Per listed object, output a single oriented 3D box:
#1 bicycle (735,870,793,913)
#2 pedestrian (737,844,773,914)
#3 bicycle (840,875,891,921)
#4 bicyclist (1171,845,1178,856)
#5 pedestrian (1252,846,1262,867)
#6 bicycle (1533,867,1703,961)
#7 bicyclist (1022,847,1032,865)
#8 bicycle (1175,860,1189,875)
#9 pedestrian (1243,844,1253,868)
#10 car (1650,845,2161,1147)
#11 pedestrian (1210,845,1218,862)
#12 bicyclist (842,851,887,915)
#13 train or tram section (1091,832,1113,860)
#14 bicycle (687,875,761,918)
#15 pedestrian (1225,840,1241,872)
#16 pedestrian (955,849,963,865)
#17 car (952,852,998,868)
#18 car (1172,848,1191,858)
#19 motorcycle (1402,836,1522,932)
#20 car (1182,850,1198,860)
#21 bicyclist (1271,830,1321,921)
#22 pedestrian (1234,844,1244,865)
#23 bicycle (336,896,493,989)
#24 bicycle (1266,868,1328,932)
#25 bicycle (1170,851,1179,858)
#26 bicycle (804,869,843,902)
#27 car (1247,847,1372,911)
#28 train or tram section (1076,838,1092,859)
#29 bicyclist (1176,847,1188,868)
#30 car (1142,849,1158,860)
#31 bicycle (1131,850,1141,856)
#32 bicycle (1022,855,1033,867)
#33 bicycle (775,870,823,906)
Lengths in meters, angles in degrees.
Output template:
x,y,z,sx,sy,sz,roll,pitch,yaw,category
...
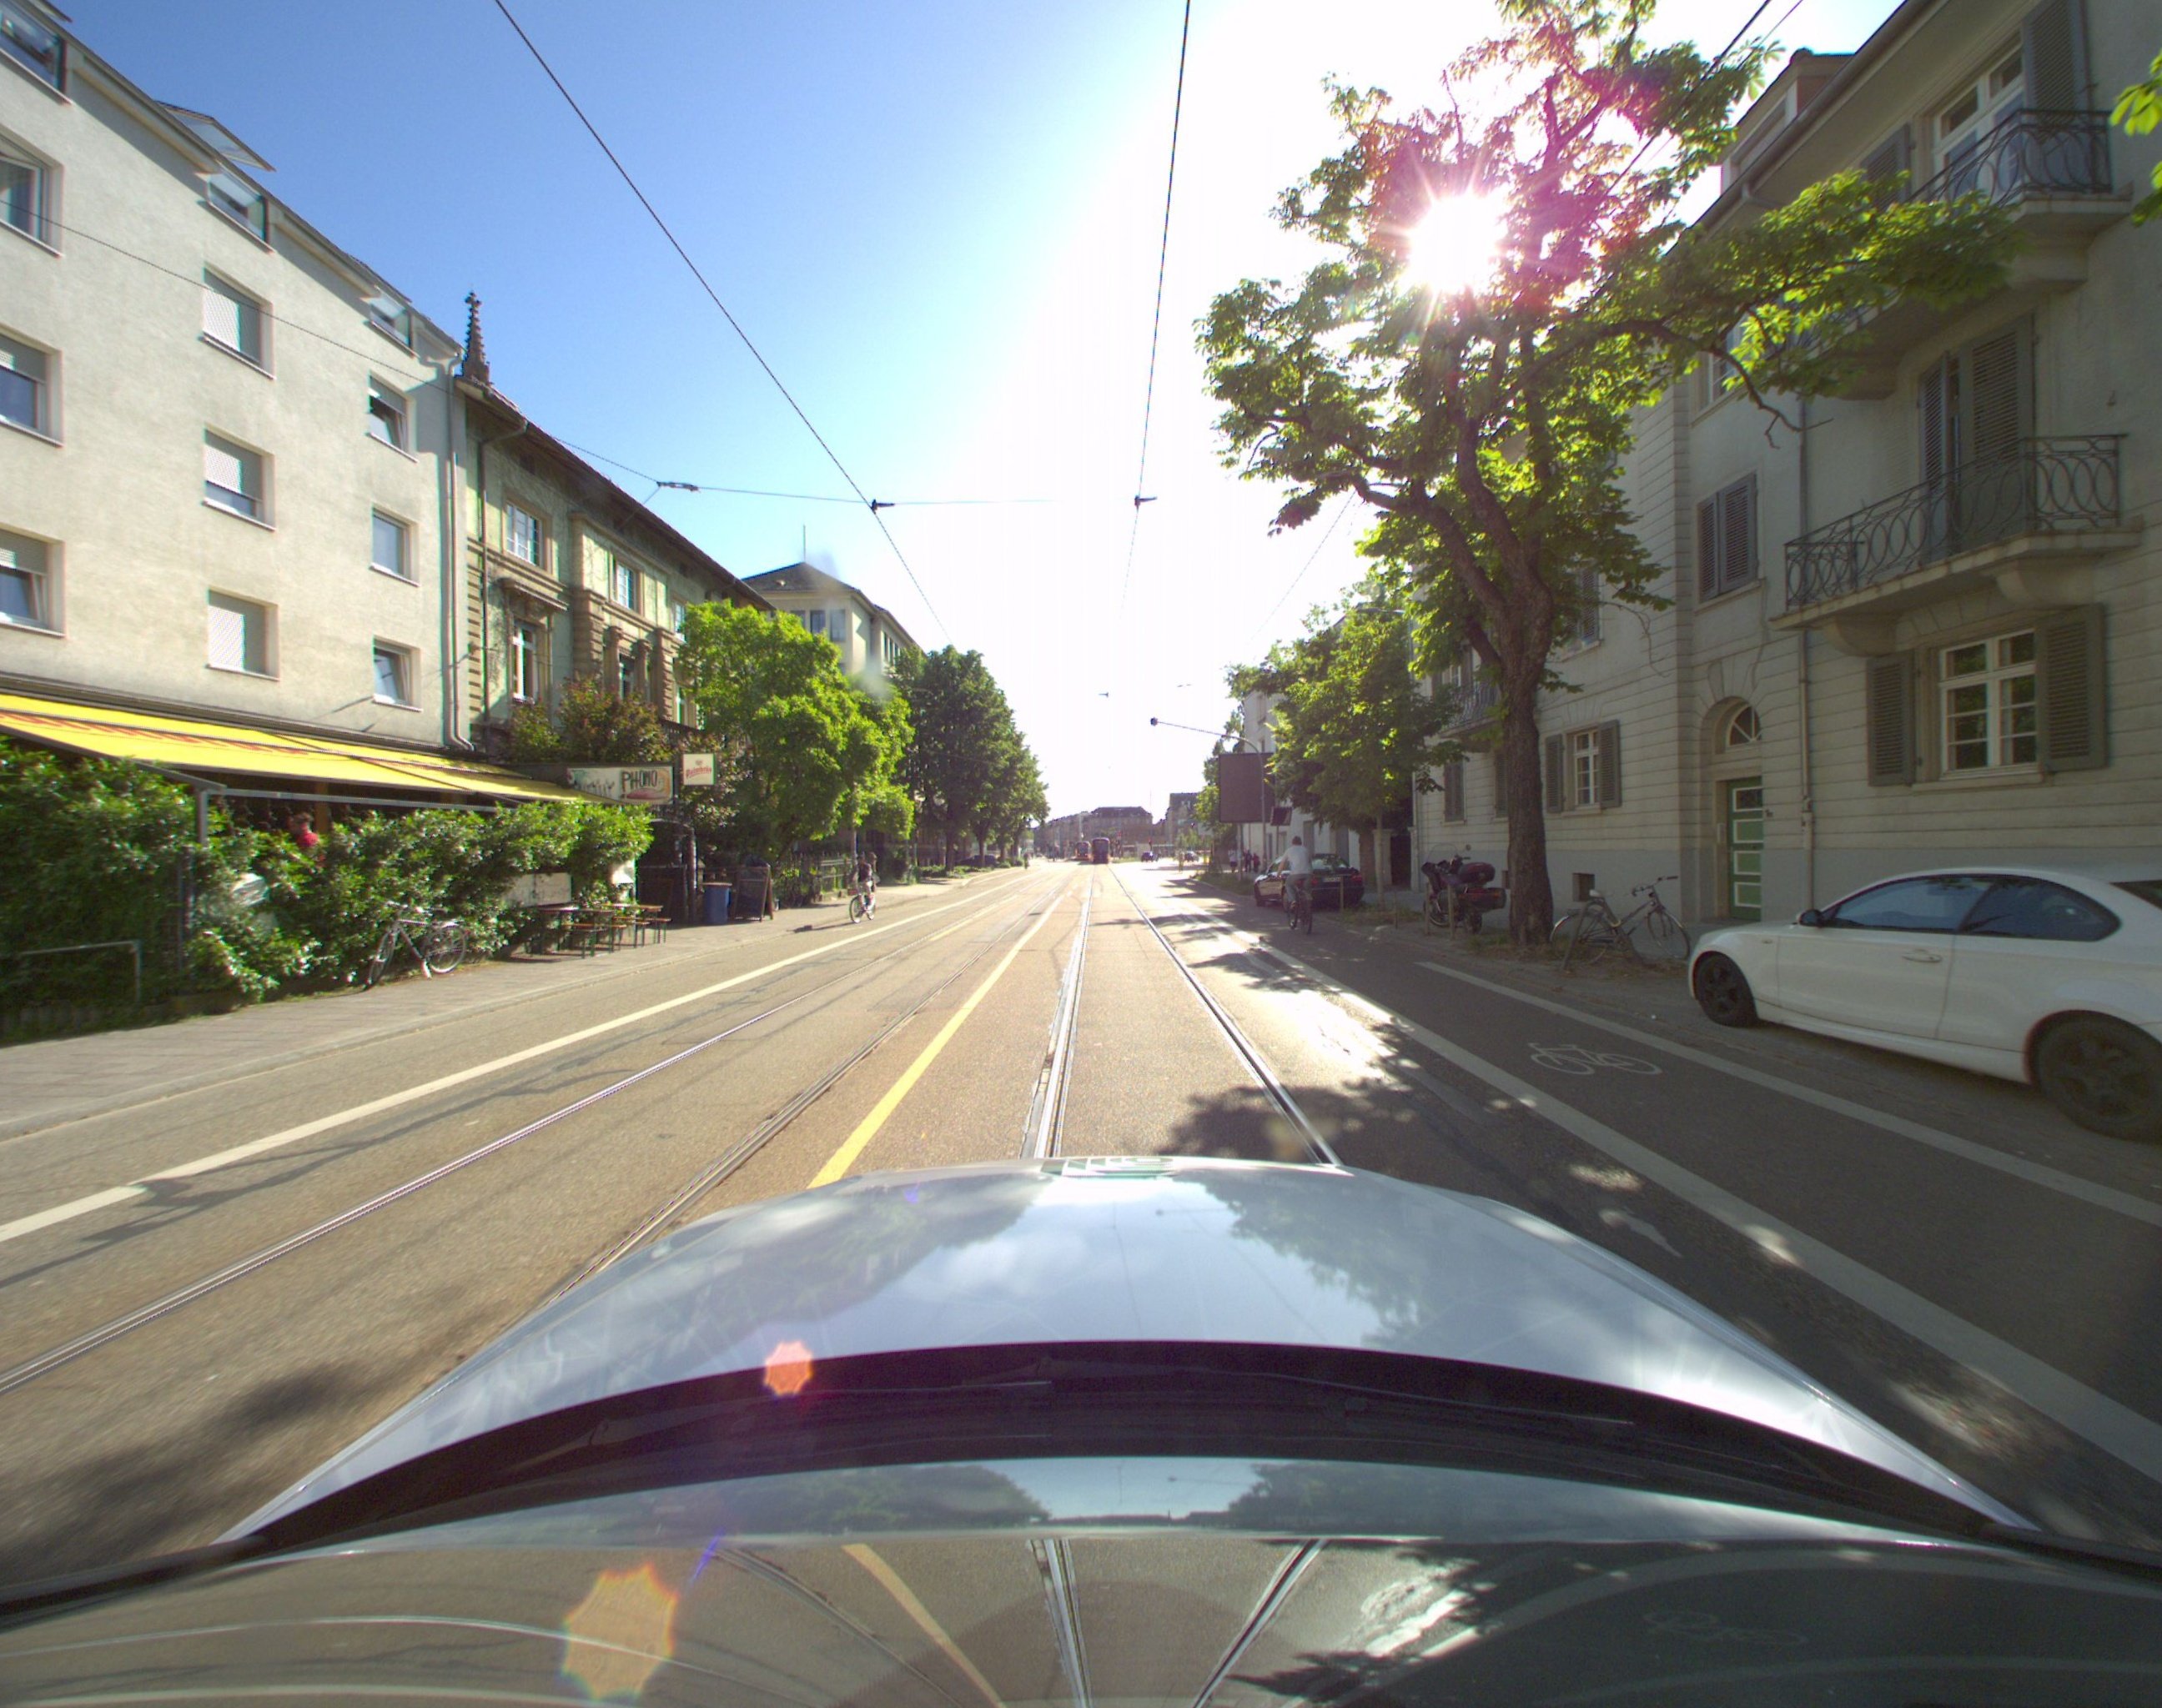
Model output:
x,y,z,sx,sy,sz,roll,pitch,yaw,category
-9.171,1.052,23.618,0.642,1.143,1.910,1,0,9,bicycle
-8.736,0.650,21.825,0.571,1.831,0.693,-1,0,20,pedestrian
-5.737,1.154,21.793,0.742,1.082,1.900,-4,0,2,bicycle
14.369,-0.551,125.162,0.698,1.700,0.993,2,1,26,bicyclist
11.929,0.198,55.207,0.515,1.404,0.765,-1,0,4,pedestrian
6.630,0.728,10.111,1.613,1.043,0.686,-2,0,2,bicycle
-5.197,0.185,78.789,0.683,1.644,1.239,-3,0,5,bicyclist
7.895,1.079,63.680,0.699,1.104,1.726,1,1,21,bicycle
11.366,0.121,55.387,0.515,1.600,0.765,-1,0,4,pedestrian
6.106,0.671,5.423,1.716,1.382,4.359,-2,0,3,car
15.890,-0.060,97.323,0.635,1.903,1.135,-3,0,2,pedestrian
-5.766,0.751,21.750,0.742,1.599,1.118,-4,0,2,bicyclist
2.803,-1.159,113.388,2.733,3.651,13.786,-1,1,1,train or tram section
-9.565,1.125,21.935,0.631,1.045,2.031,-1,0,18,bicycle
8.952,0.105,47.916,0.681,1.849,0.955,-2,0,0,pedestrian
-13.237,0.322,88.323,0.698,1.635,0.759,2,0,1,pedestrian
-10.032,0.573,77.135,4.008,1.550,1.861,0,0,-27,car
17.878,-0.150,144.722,1.685,1.643,3.736,1,1,36,car
6.587,0.474,14.292,0.910,1.488,2.681,-3,0,3,motorcycle
16.540,0.141,123.466,1.775,1.511,3.728,1,1,16,car
4.129,0.403,15.668,0.735,1.686,0.972,1,0,3,bicyclist
13.994,0.015,71.997,0.642,1.763,0.960,-5,0,16,pedestrian
-9.073,1.170,11.187,0.636,1.059,1.744,2,0,2,bicycle
4.128,0.841,15.731,0.735,1.094,2.113,1,0,3,bicycle
14.362,0.126,125.191,0.698,1.055,2.327,2,1,26,bicycle
-8.895,1.081,28.166,0.587,1.045,1.907,1,0,5,bicycle
5.991,0.595,21.968,1.817,1.458,4.814,-2,0,-2,car
0.532,-0.989,149.188,2.733,3.651,13.786,-1,1,1,train or tram section
7.905,0.267,63.673,0.699,1.675,1.107,1,1,21,bicyclist
10.393,0.054,122.403,1.776,1.604,3.727,1,1,14,car
11.111,-0.175,164.822,1.928,1.103,0.599,-1,0,-2,bicycle
-5.175,0.649,78.807,0.683,1.124,1.934,-3,0,5,bicycle
-9.035,1.066,26.152,0.586,1.045,1.910,0,0,9,bicycle
